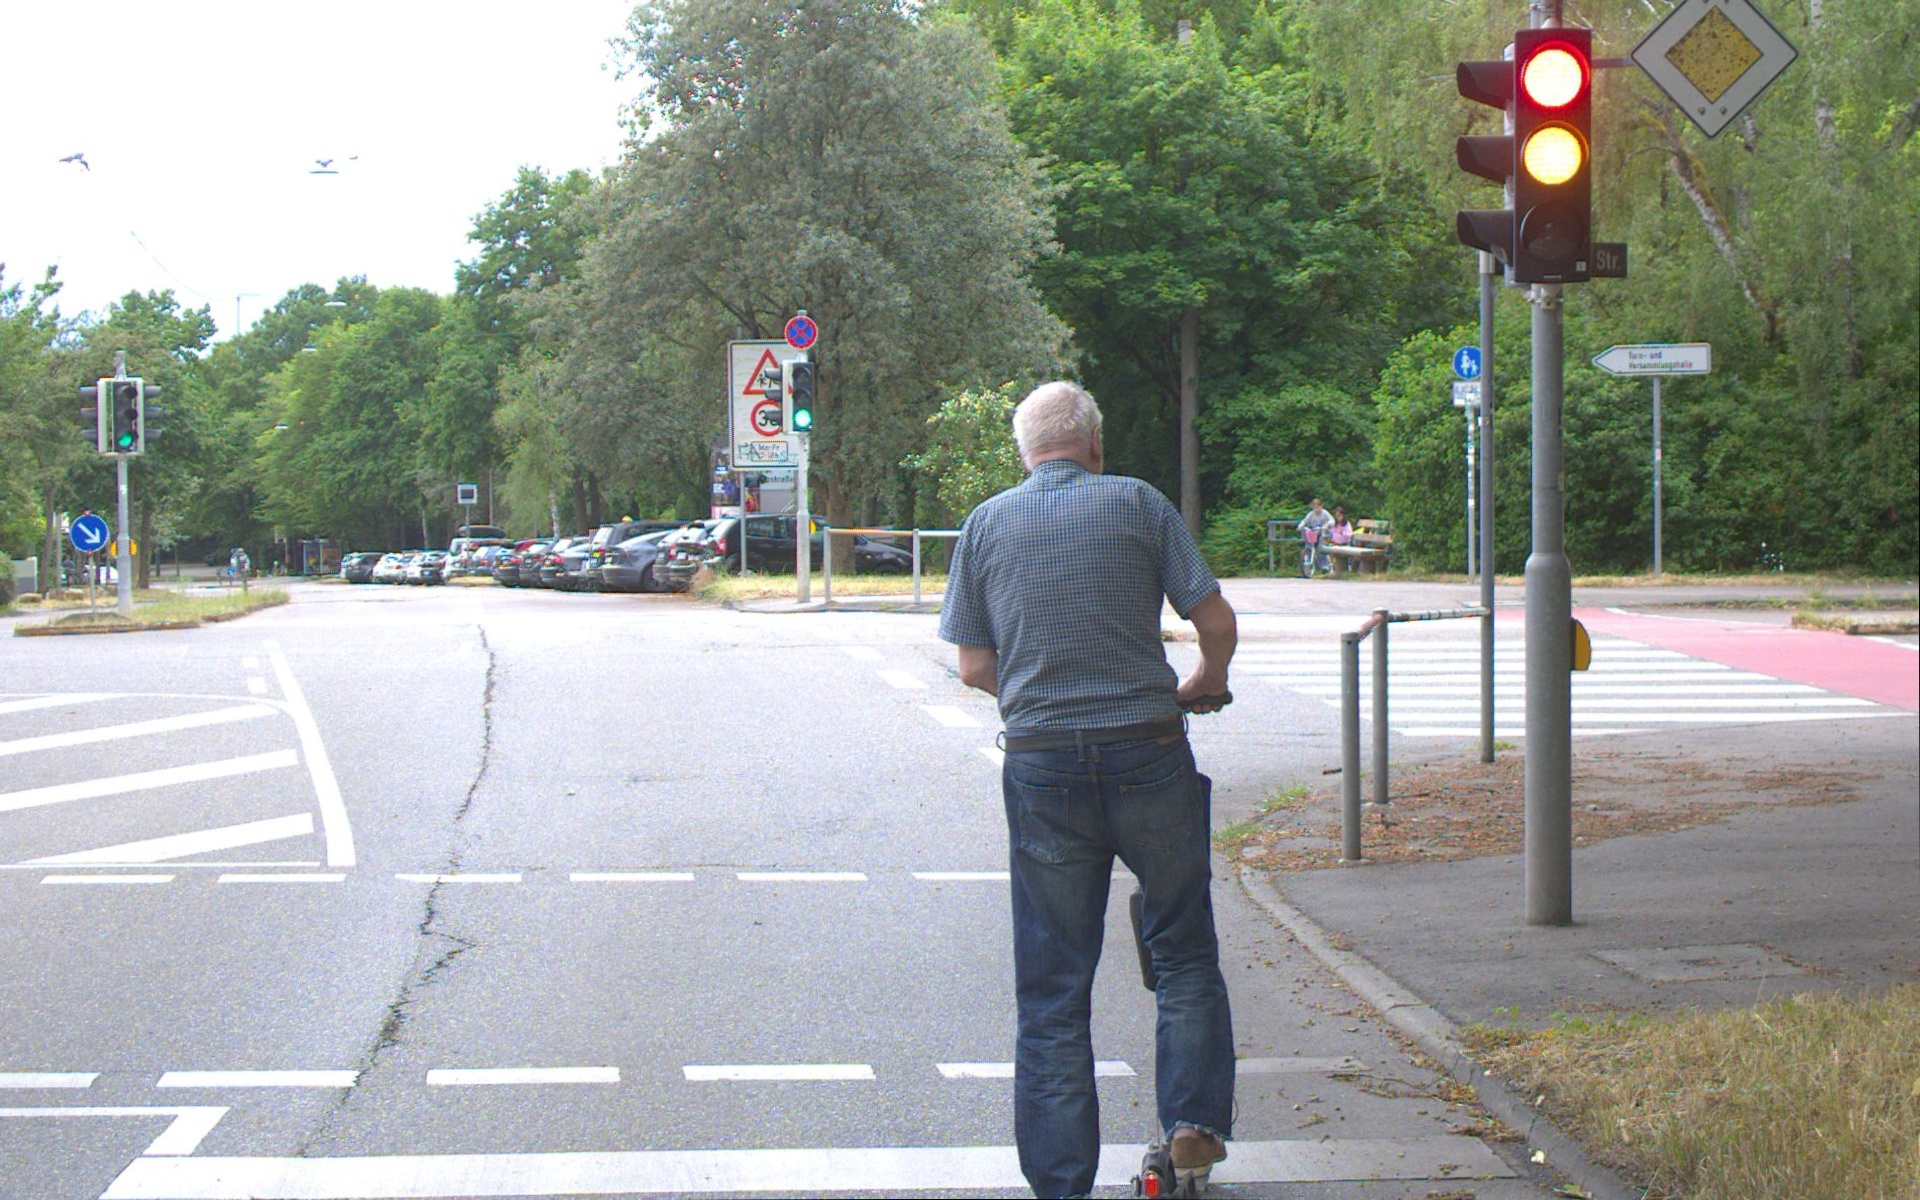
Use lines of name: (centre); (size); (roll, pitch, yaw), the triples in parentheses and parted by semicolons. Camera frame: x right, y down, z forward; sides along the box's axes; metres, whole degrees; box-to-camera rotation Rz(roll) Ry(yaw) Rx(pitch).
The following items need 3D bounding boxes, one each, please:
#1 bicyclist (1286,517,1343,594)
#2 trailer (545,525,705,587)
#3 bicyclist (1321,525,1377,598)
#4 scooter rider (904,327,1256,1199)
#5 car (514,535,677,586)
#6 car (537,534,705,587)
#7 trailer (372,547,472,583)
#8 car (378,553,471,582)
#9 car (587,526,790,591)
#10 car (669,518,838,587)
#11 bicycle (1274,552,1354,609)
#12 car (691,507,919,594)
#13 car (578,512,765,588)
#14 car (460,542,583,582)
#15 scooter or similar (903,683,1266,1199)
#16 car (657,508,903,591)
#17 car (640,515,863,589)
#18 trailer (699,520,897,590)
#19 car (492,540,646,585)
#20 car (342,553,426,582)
bicyclist: (5.689, -0.721, 55.141); (0.640, 1.157, 0.802); (3, 6, 30)
trailer: (-8.444, -1.101, 86.552); (3.687, 1.530, 1.646); (0, 1, -23)
bicyclist: (6.408, -0.633, 56.608); (0.519, 1.183, 0.966); (-2, 0, 32)
scooter rider: (0.251, 0.306, 7.303); (0.681, 1.724, 1.197); (0, 2, 2)
car: (-10.490, -1.156, 98.973); (4.343, 1.440, 1.634); (-1, 1, -26)
car: (-8.765, -1.027, 88.892); (4.036, 1.323, 1.560); (-1, 0, -20)
trailer: (-24.418, -1.588, 156.006); (4.154, 1.568, 1.712); (0, 0, -31)
car: (-24.715, -1.497, 158.690); (3.885, 1.305, 1.743); (-1, 0, -36)
car: (-6.042, -0.919, 76.514); (4.158, 1.402, 1.698); (-1, 0, -22)
car: (-4.499, -1.023, 74.755); (3.325, 1.459, 1.635); (-1, 0, -20)
bicycle: (5.688, -0.318, 55.173); (0.640, 0.755, 1.678); (3, 6, 30)
car: (-2.703, -0.875, 59.656); (3.714, 1.471, 1.577); (-1, 1, -14)
car: (-6.646, -1.151, 79.163); (3.985, 1.719, 1.681); (-1, 0, -21)
car: (-15.553, -1.333, 121.941); (3.964, 1.401, 1.757); (0, 0, -26)
scooter or similar: (0.254, 0.793, 7.212); (0.681, 1.135, 1.460); (0, 3, 2)
car: (-3.254, -0.913, 62.200); (4.134, 1.471, 1.577); (-1, 0, -22)
car: (-4.239, -0.980, 69.903); (4.218, 1.459, 1.635); (-1, 1, -20)
trailer: (-3.072, -0.851, 65.144); (3.401, 1.262, 1.617); (-1, 0, -21)
car: (-11.859, -1.142, 104.268); (4.312, 1.336, 1.734); (-1, 0, -25)
car: (-29.564, -1.678, 176.444); (3.884, 1.424, 1.743); (-1, 0, -31)
